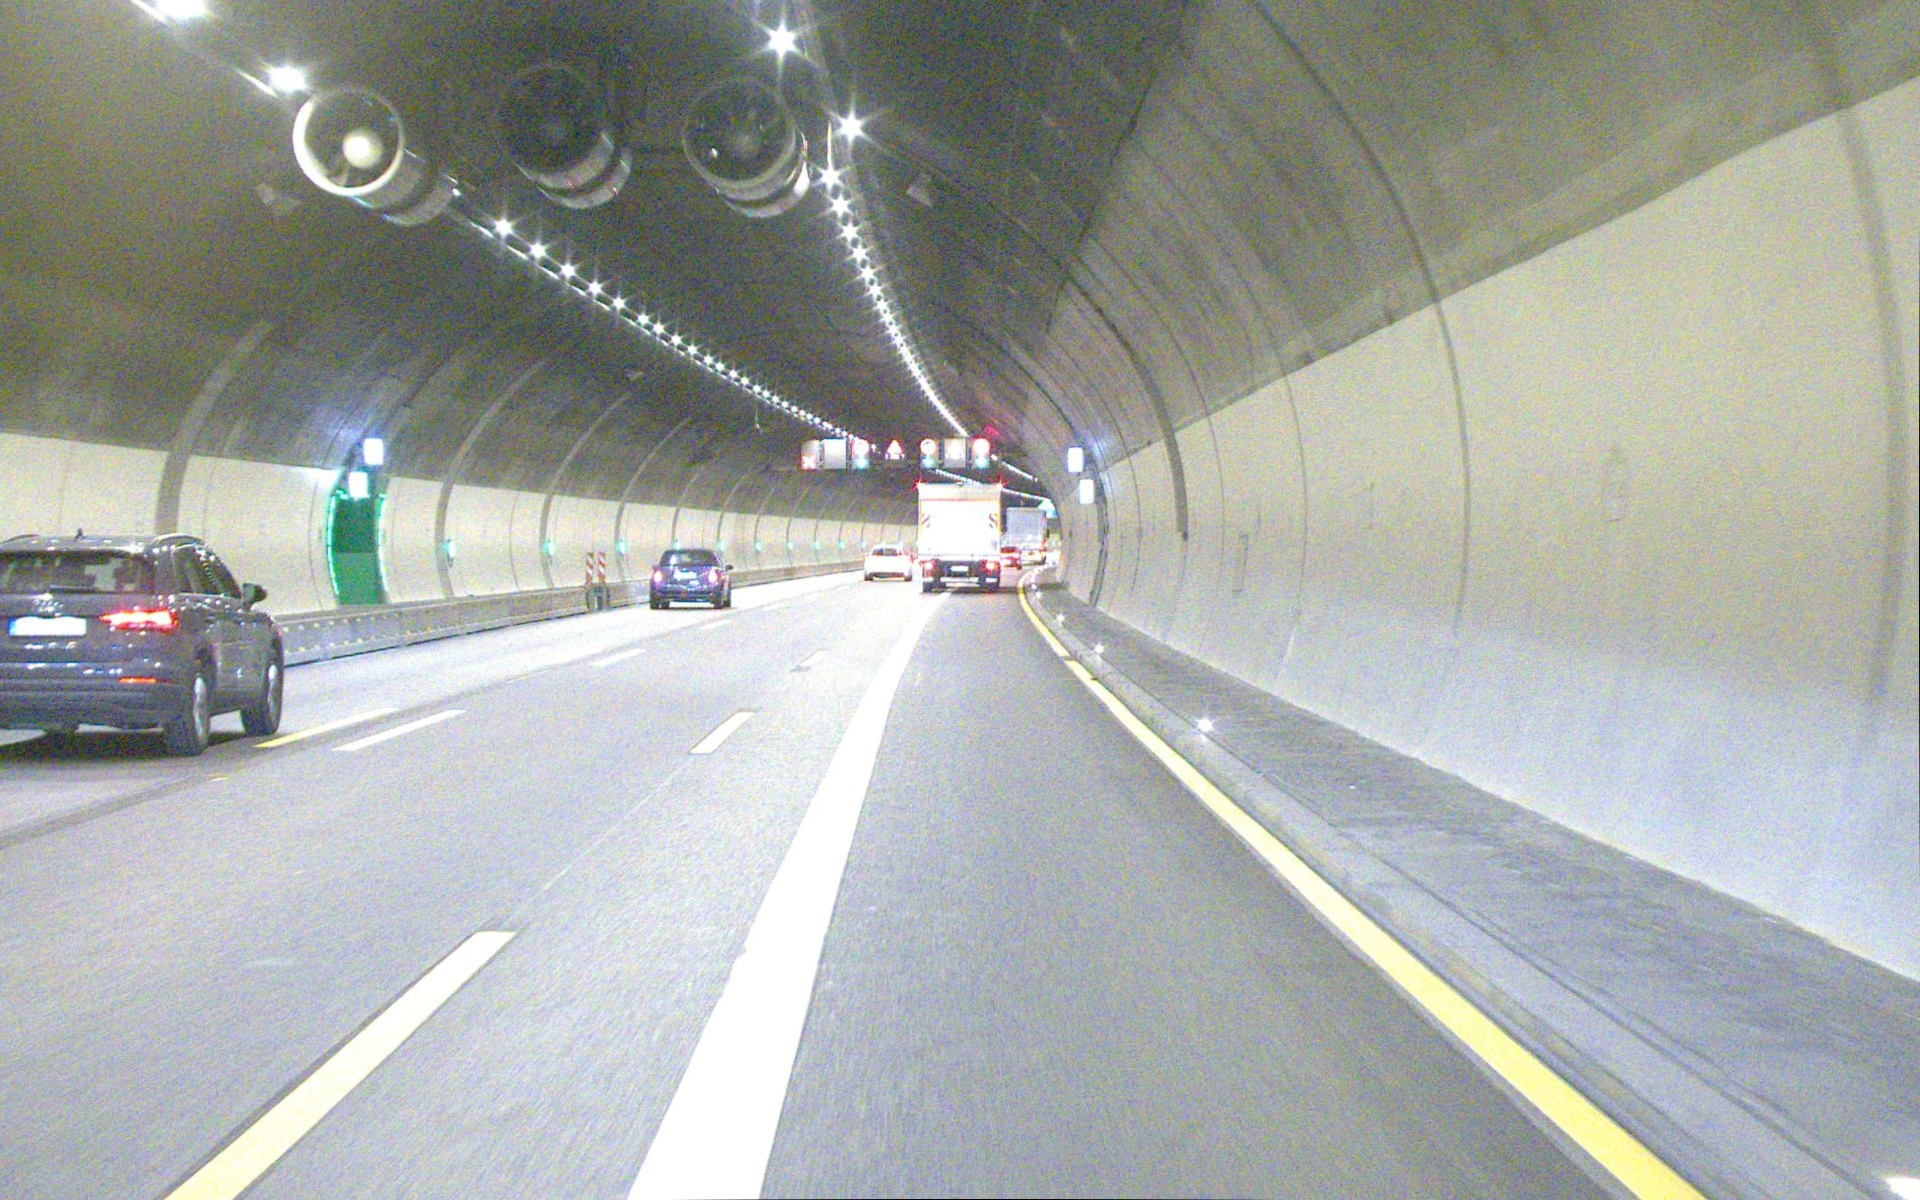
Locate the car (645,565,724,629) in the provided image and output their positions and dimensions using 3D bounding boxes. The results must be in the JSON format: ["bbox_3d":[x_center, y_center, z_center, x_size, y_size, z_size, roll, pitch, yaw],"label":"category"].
[{"bbox_3d":[-6.405,-0.088,80.311,1.689,1.412,3.923,1,1,-3],"label":"car"}]

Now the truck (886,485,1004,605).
[{"bbox_3d":[-0.525,-1.755,110.588,3.592,3.638,10.723,1,1,-1],"label":"truck"}]

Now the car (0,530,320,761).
[{"bbox_3d":[-6.193,0.285,25.474,1.993,1.535,4.742,1,0,0],"label":"car"}]

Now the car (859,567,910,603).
[{"bbox_3d":[-3.047,-0.611,139.147,1.993,1.408,4.743,1,1,-1],"label":"car"}]
